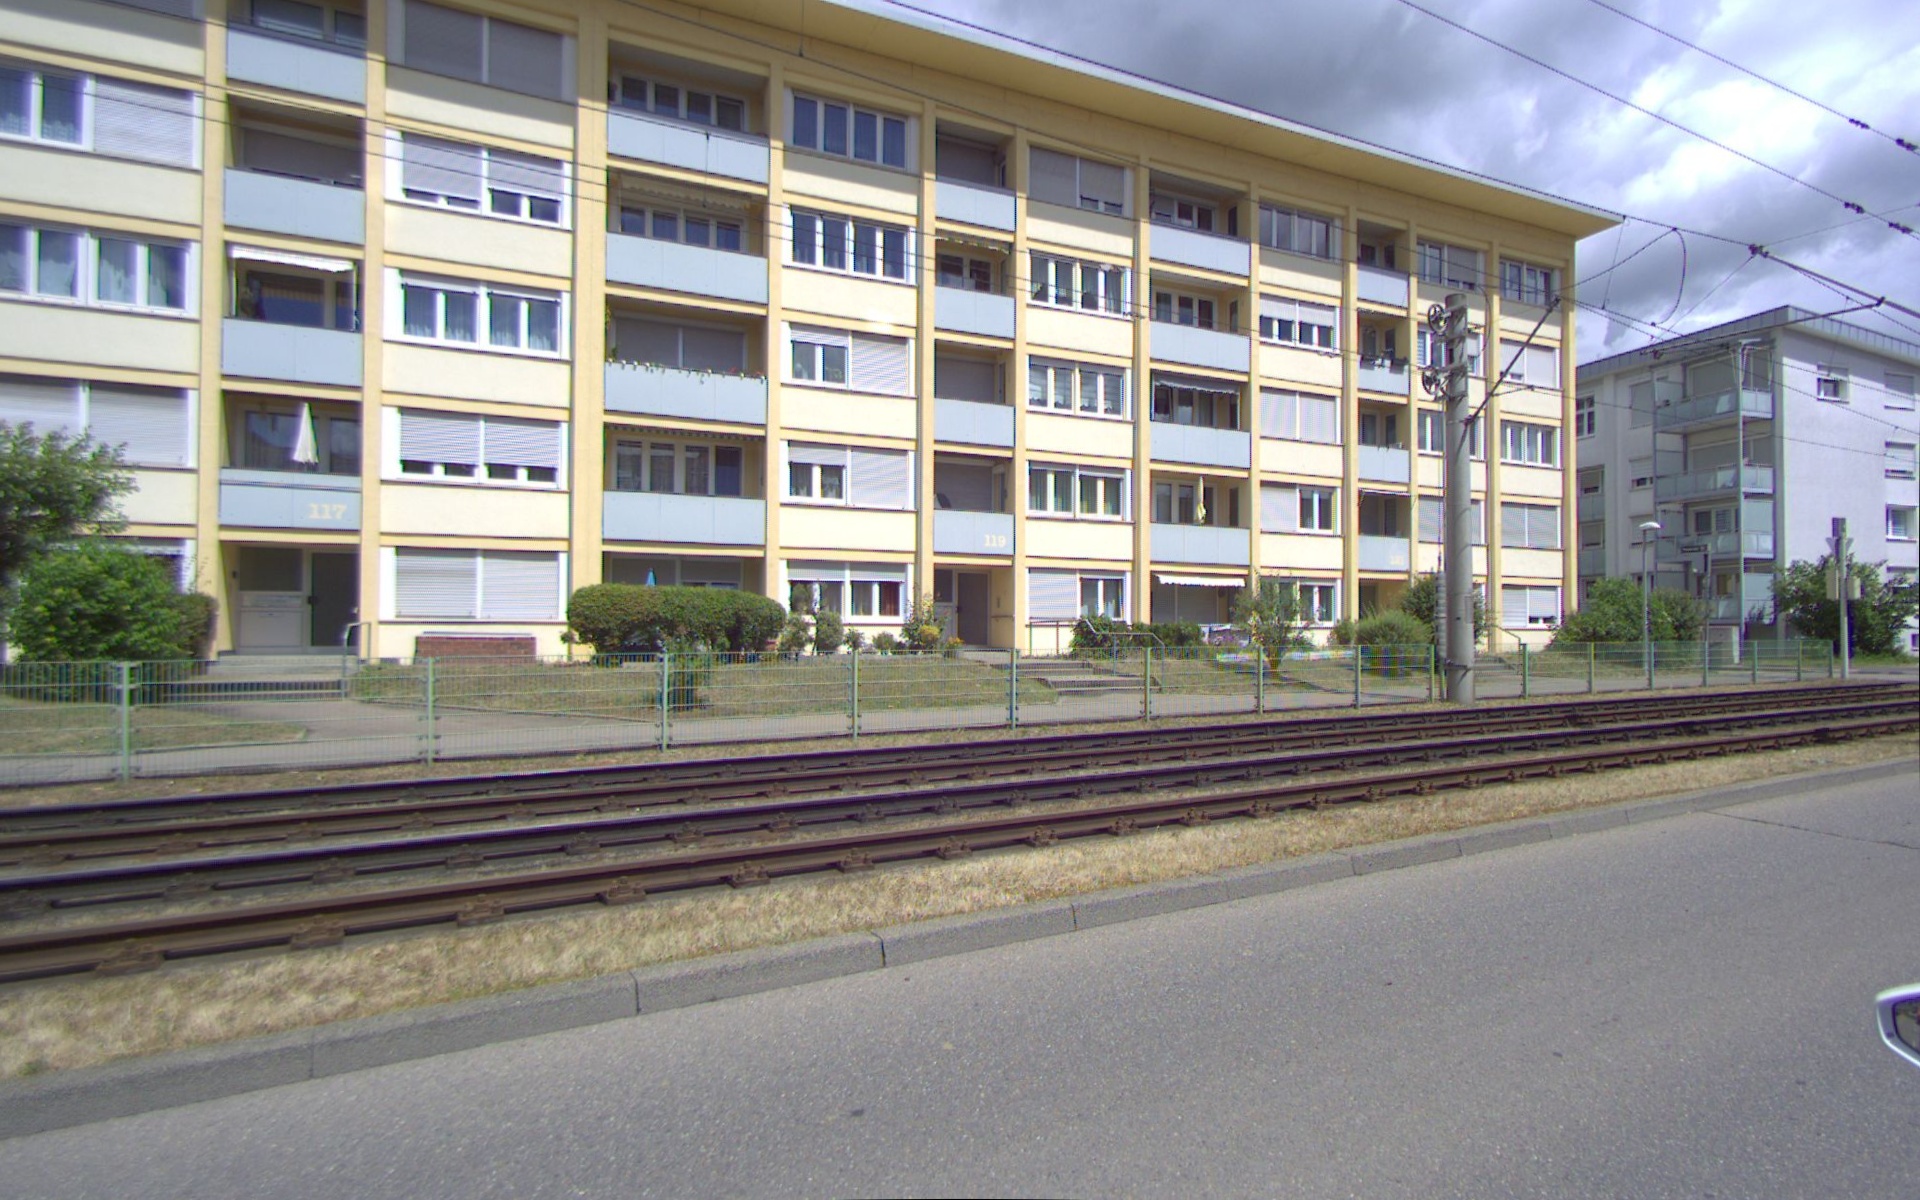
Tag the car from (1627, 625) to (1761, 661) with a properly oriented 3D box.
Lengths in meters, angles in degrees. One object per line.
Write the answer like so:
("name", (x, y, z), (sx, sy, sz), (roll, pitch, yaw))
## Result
("car", (29.443, 1.686, 40.435), (1.873, 1.363, 3.981), (1, -1, -21))
